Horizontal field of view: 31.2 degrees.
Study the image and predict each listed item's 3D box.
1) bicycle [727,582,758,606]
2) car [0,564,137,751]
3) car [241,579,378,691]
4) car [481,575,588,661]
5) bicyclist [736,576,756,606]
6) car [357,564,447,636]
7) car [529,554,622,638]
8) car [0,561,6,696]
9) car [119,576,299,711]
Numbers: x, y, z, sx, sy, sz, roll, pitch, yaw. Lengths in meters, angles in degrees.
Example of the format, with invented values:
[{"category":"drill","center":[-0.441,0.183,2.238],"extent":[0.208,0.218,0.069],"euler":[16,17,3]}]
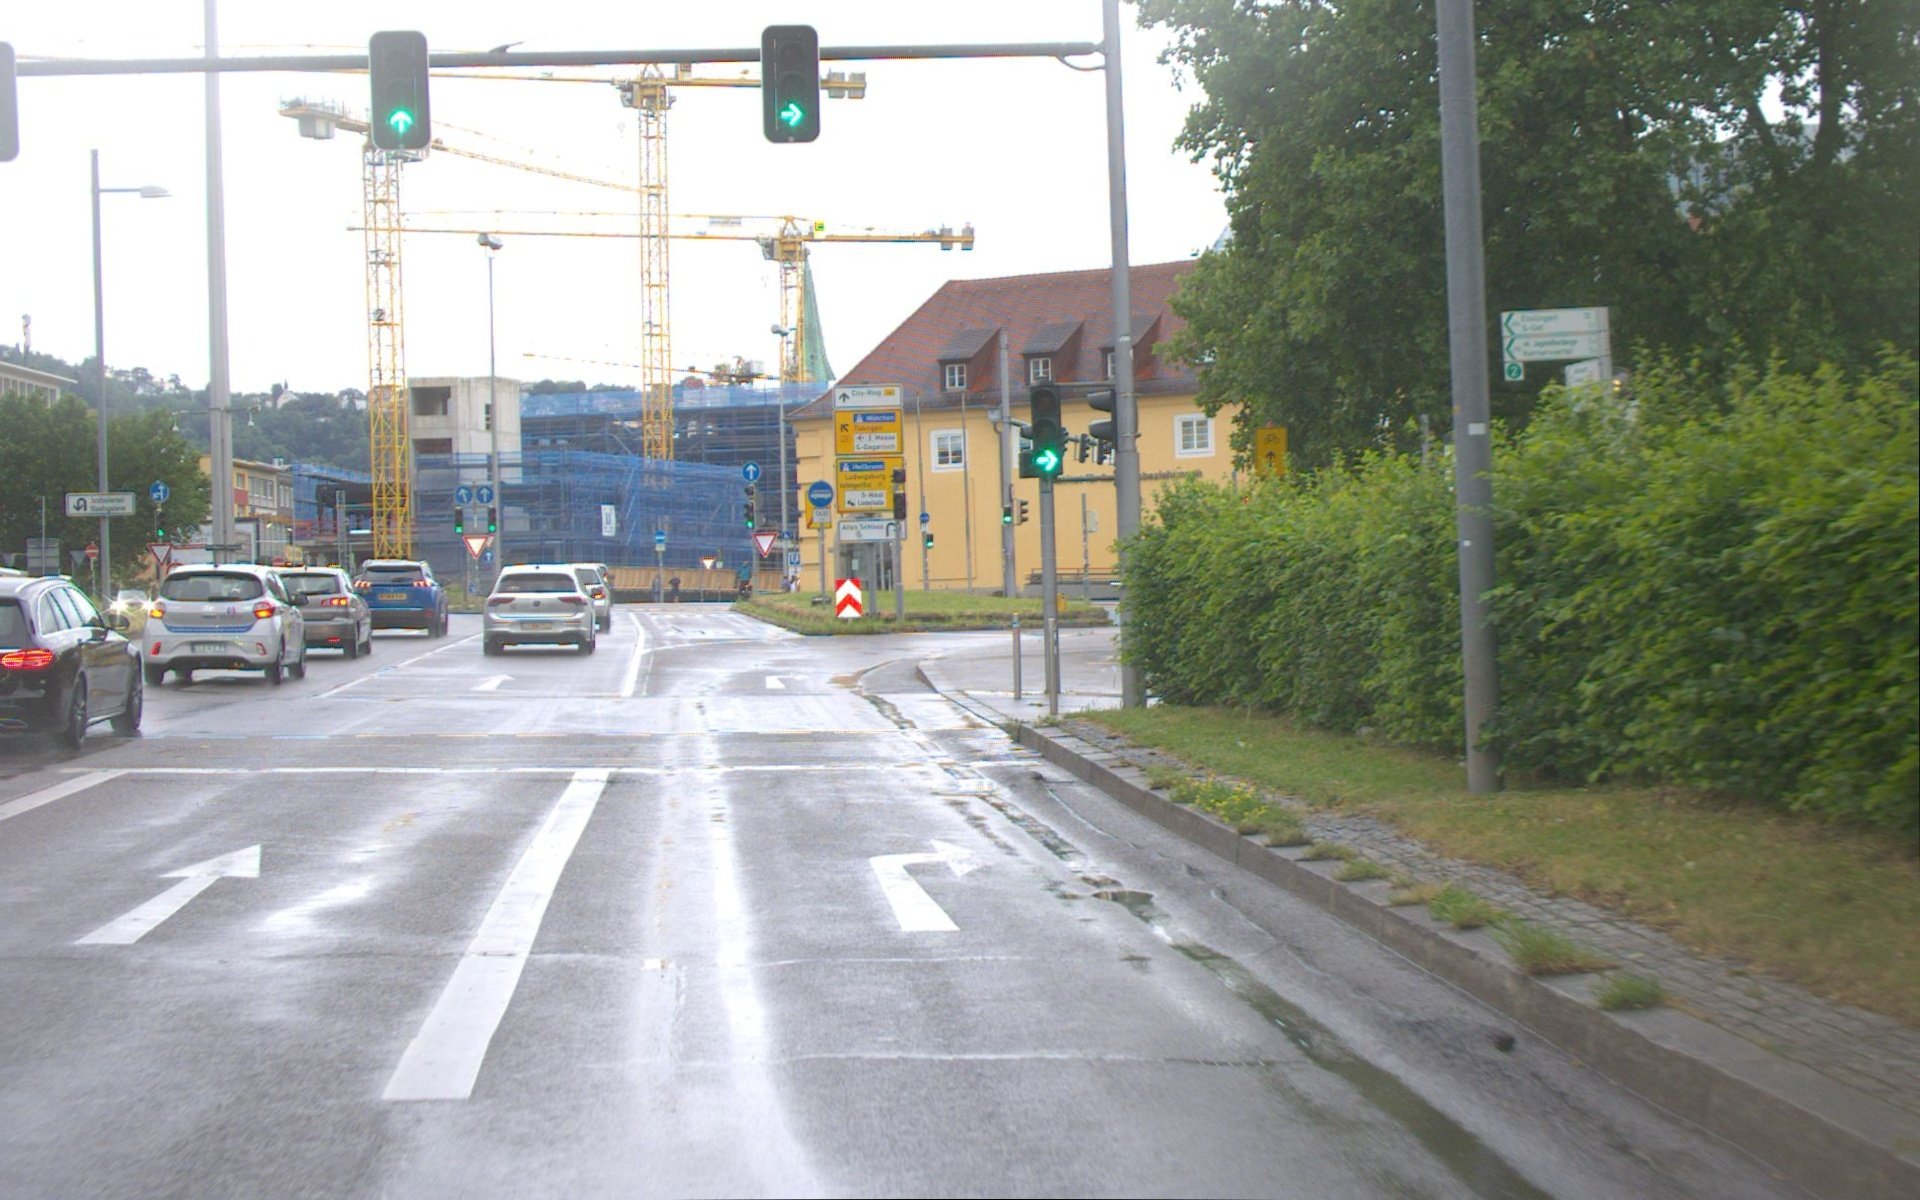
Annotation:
[{"category":"bicycle","center":[-9.502,-0.241,150.157],"extent":[0.880,1.006,1.993],"euler":[0,-1,-19]},{"category":"car","center":[-8.228,0.492,29.042],"extent":[1.829,1.489,3.399],"euler":[0,-1,-2]},{"category":"car","center":[-10.272,0.568,54.473],"extent":[1.716,1.722,3.495],"euler":[0,-1,-4]},{"category":"car","center":[-6.855,0.301,55.522],"extent":[1.444,1.354,2.412],"euler":[0,-1,-1]},{"category":"bicyclist","center":[-9.317,-0.396,149.840],"extent":[0.703,1.271,0.635],"euler":[0,-1,-19]},{"category":"car","center":[-11.113,0.016,68.605],"extent":[1.493,1.365,3.033],"euler":[0,-1,-4]},{"category":"car","center":[-8.428,-0.099,75.521],"extent":[1.667,1.735,3.288],"euler":[1,2,0]},{"category":"car","center":[-12.706,0.336,42.063],"extent":[1.464,1.700,3.142],"euler":[0,-1,-6]},{"category":"car","center":[-9.464,0.560,43.545],"extent":[1.880,1.647,3.458],"euler":[0,-1,-6]}]
